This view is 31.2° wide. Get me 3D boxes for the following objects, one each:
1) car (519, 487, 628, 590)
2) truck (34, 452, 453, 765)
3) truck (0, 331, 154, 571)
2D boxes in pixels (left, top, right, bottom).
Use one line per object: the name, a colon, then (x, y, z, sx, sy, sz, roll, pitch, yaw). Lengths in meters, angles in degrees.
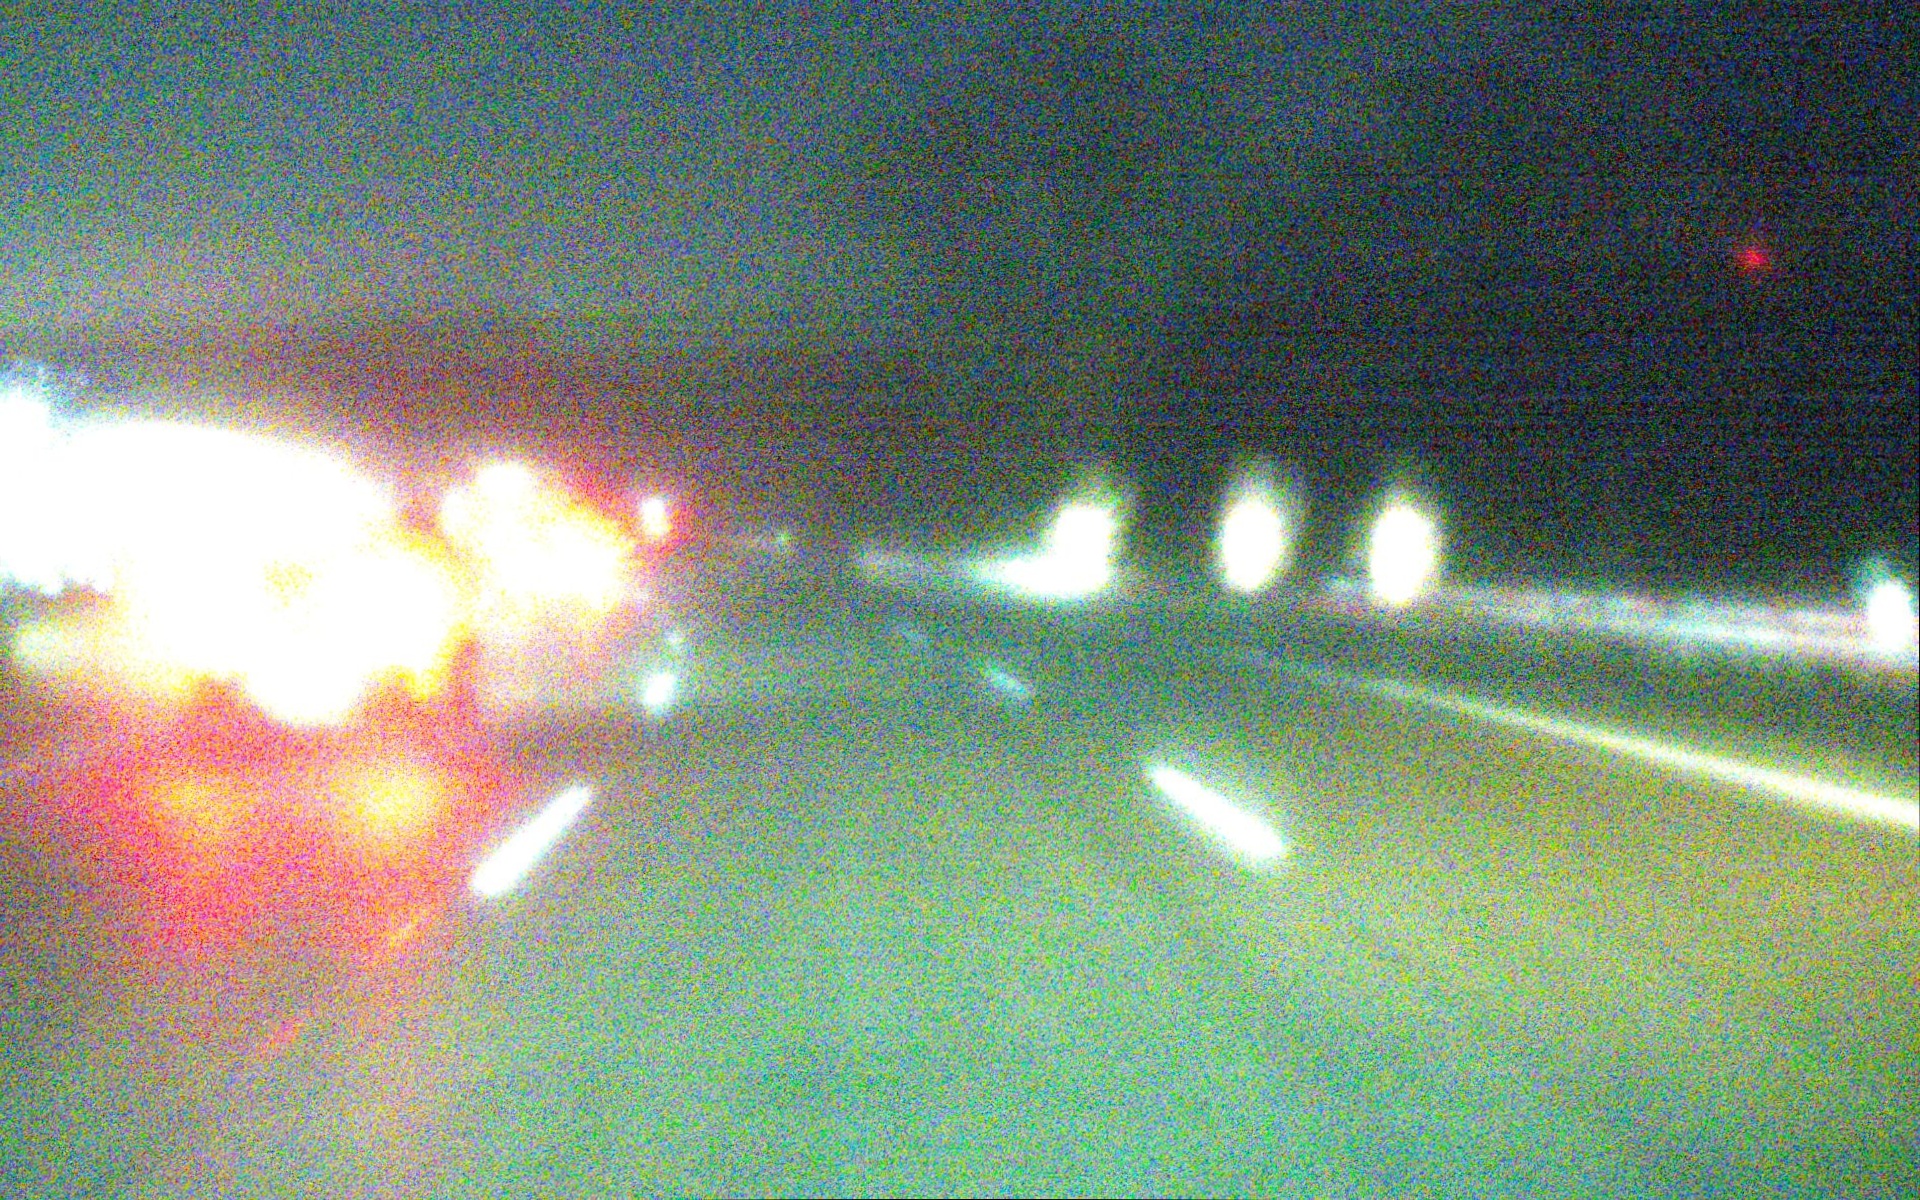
car: (-8.437, -1.378, 75.394, 1.993, 2.006, 4.001, 4, 2, -3)
truck: (-5.391, 0.019, 26.846, 2.145, 2.070, 6.604, -2, 1, -3)
truck: (-21.967, -3.645, 82.511, 2.525, 5.293, 11.792, 4, 2, -2)
